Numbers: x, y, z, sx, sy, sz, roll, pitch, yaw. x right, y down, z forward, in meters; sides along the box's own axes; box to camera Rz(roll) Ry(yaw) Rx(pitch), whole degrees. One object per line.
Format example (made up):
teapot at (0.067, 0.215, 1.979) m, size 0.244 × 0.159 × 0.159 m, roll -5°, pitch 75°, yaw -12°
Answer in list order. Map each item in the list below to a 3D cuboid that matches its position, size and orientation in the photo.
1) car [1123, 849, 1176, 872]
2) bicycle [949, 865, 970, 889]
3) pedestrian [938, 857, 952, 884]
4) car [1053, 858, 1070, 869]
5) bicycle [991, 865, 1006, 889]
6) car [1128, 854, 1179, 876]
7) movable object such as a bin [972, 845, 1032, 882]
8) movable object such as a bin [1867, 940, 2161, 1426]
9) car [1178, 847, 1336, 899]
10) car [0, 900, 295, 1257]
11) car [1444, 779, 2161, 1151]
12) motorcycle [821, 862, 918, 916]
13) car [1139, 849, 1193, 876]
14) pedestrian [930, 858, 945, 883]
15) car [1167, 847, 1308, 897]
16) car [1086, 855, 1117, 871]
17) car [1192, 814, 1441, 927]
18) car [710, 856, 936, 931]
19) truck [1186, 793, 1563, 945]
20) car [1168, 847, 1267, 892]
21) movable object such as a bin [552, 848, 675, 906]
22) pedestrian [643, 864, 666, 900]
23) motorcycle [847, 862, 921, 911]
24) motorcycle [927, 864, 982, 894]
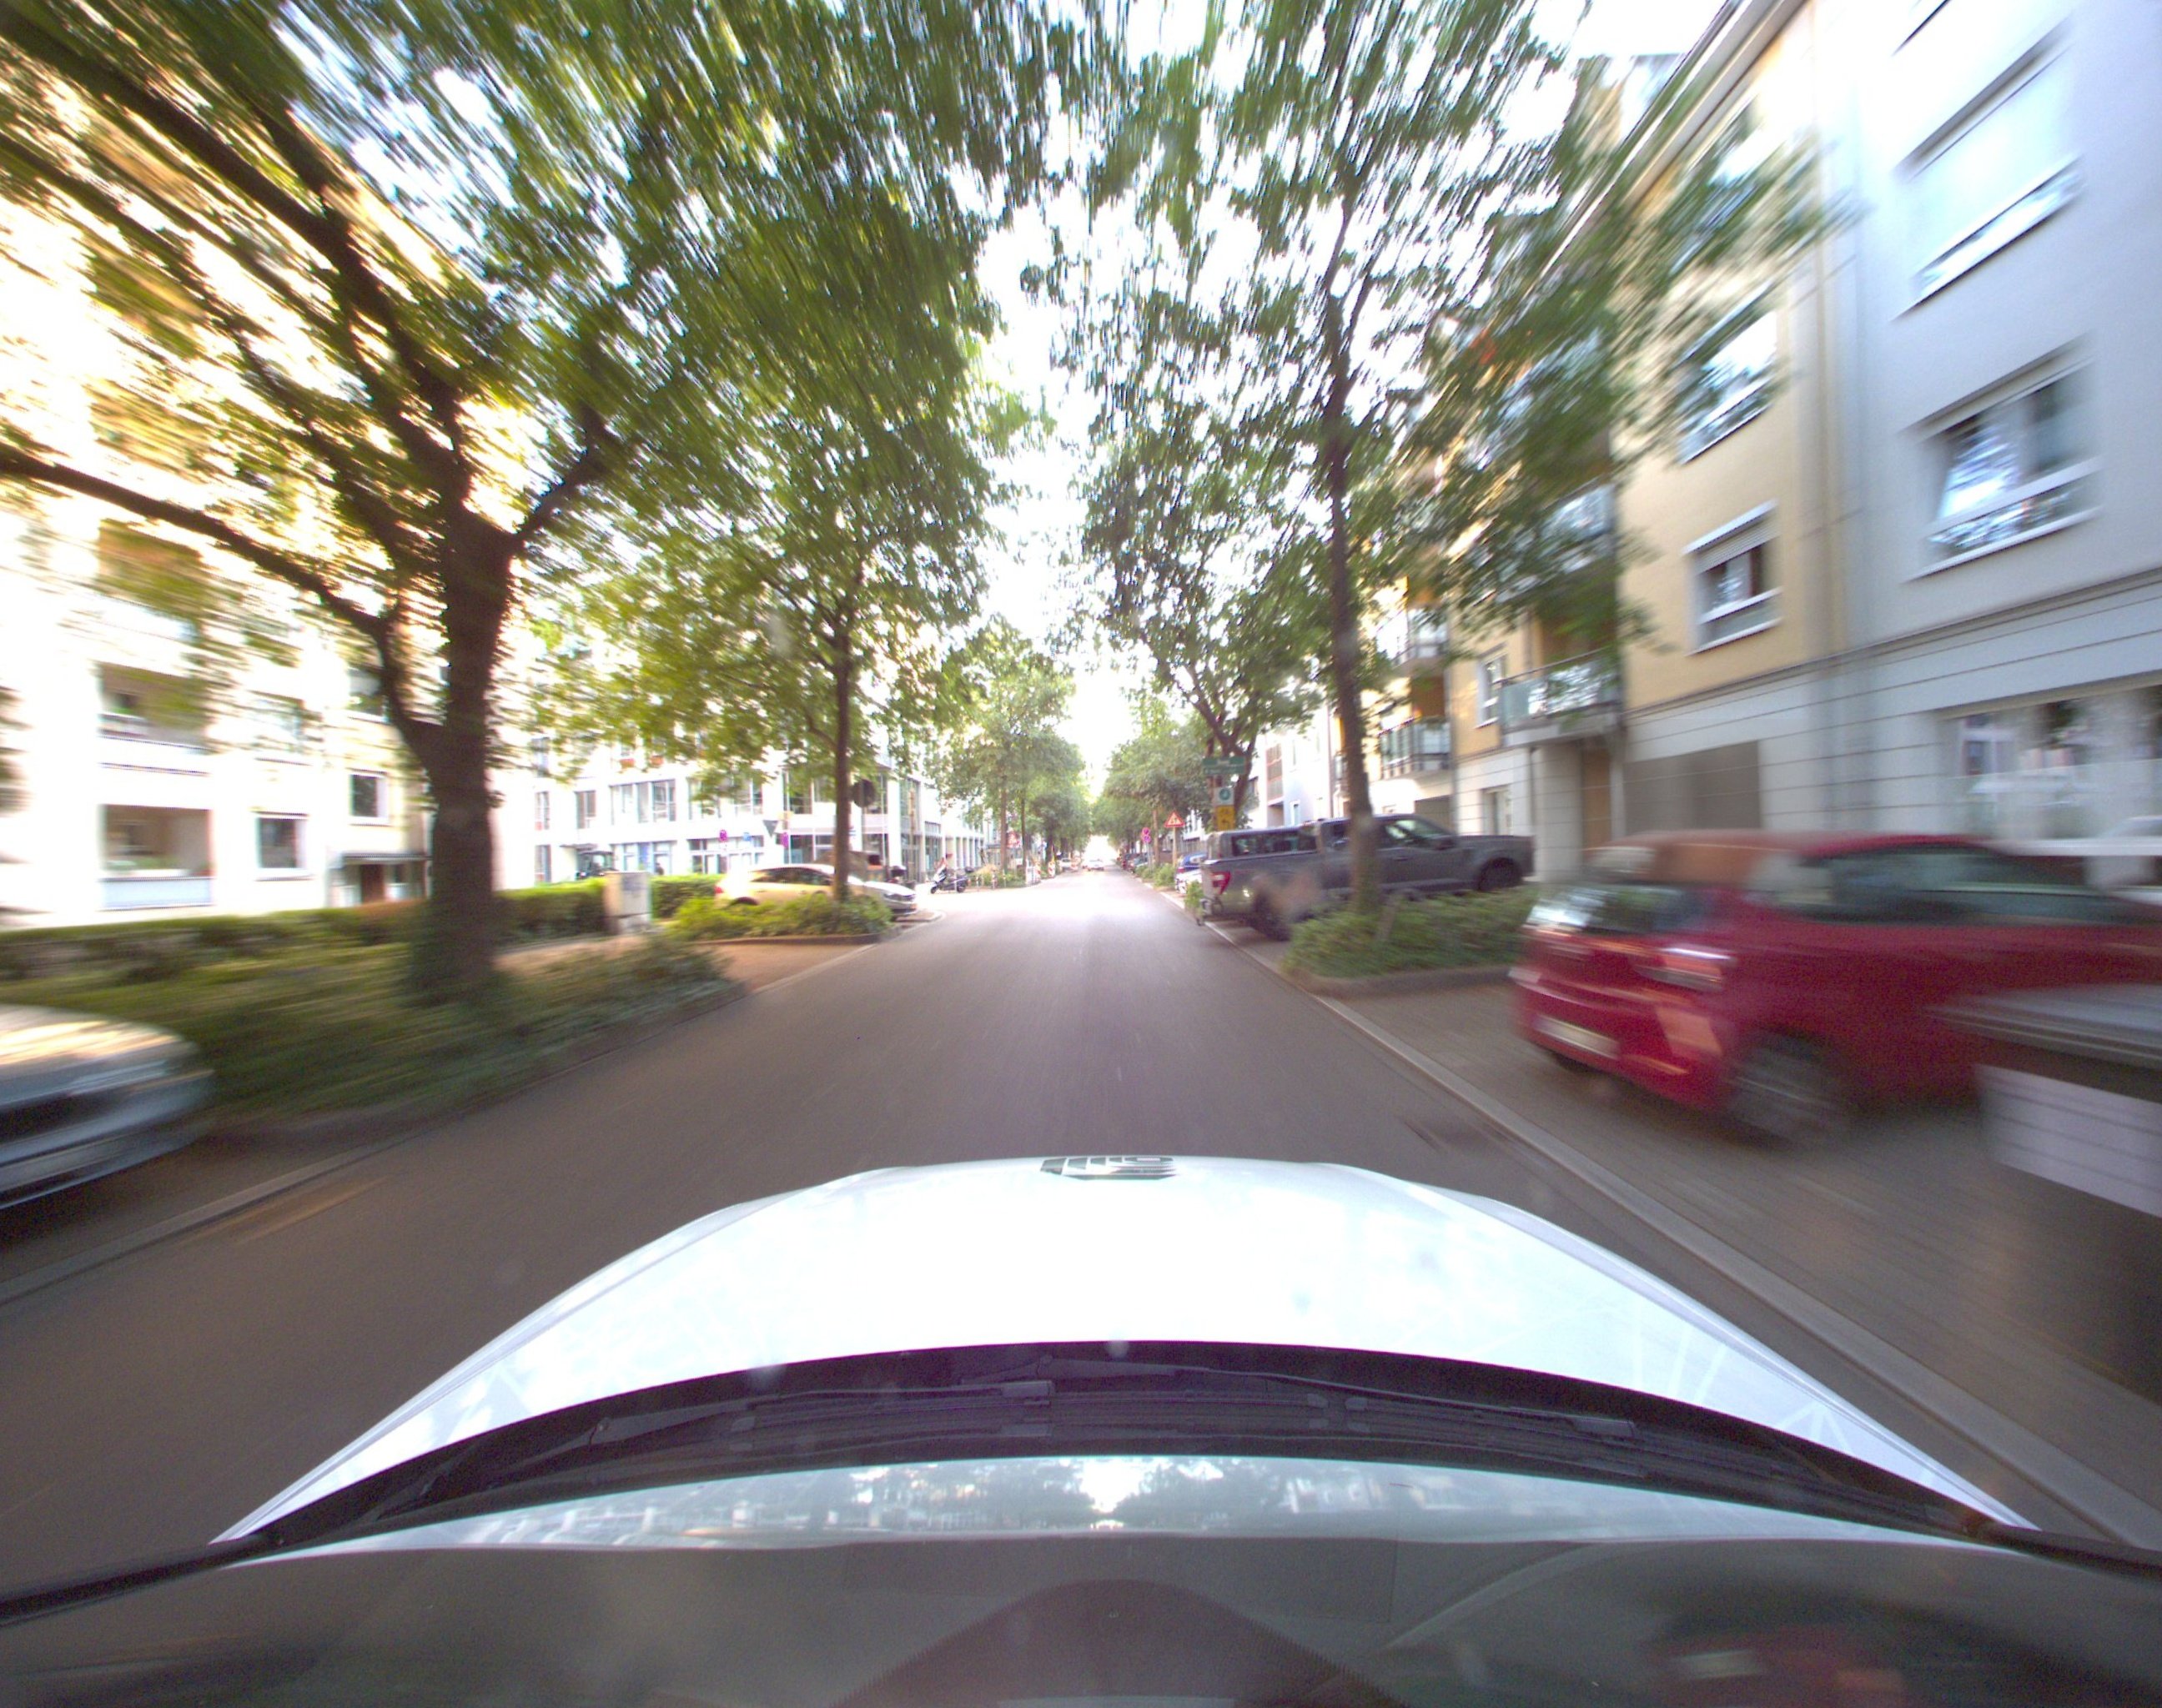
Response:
car at (6.305, 0.617, 74.919) m, size 4.722 × 2.013 × 2.000 m, roll -1°, pitch 0°, yaw 0°
bicycle at (-6.363, 1.212, 42.795) m, size 0.680 × 1.152 × 1.982 m, roll -2°, pitch 0°, yaw 3°
pedestrian at (-8.608, 1.057, 51.490) m, size 0.736 × 1.690 × 0.607 m, roll -2°, pitch -1°, yaw 3°
car at (-2.442, 1.216, 102.075) m, size 1.989 × 1.288 × 3.996 m, roll -2°, pitch 0°, yaw -3°
bicycle at (-4.335, 1.182, 42.783) m, size 0.681 × 1.152 × 1.978 m, roll -2°, pitch 0°, yaw -4°
car at (5.838, 0.878, 65.904) m, size 3.970 × 1.585 × 2.002 m, roll -2°, pitch 0°, yaw 3°
movable object such as a bin at (-5.527, 0.654, 57.344) m, size 4.039 × 2.383 × 2.780 m, roll -2°, pitch 0°, yaw -4°
movable object such as a bin at (3.042, 0.854, 2.337) m, size 0.757 × 1.084 × 0.786 m, roll -4°, pitch 0°, yaw 2°
car at (5.621, 0.603, 26.506) m, size 4.763 × 1.520 × 1.992 m, roll -2°, pitch 0°, yaw 2°
car at (-6.680, 1.043, 3.746) m, size 4.272 × 1.430 × 1.880 m, roll -2°, pitch 0°, yaw 1°
car at (4.520, 0.494, 4.872) m, size 3.764 × 1.544 × 1.877 m, roll -5°, pitch 0°, yaw 0°
motorcycle at (-5.971, 0.980, 23.069) m, size 2.442 × 1.420 × 0.912 m, roll -2°, pitch -1°, yaw 3°
car at (6.382, 0.638, 61.318) m, size 3.968 × 1.805 × 2.003 m, roll -2°, pitch 0°, yaw 5°
pedestrian at (-9.145, 1.059, 51.791) m, size 0.767 × 1.536 × 0.643 m, roll -2°, pitch -1°, yaw 1°
car at (5.463, 0.621, 28.903) m, size 4.605 × 1.571 × 2.011 m, roll -2°, pitch 0°, yaw 1°
car at (2.326, 0.992, 91.718) m, size 1.991 × 1.613 × 4.144 m, roll -2°, pitch 0°, yaw 25°
car at (4.813, 0.322, 17.236) m, size 4.585 × 2.066 × 2.197 m, roll -2°, pitch 0°, yaw 0°
car at (-5.984, 0.897, 19.287) m, size 4.599 × 1.552 × 2.077 m, roll -2°, pitch 0°, yaw 3°
truck at (4.945, 0.255, 14.490) m, size 5.865 × 2.311 × 2.213 m, roll -2°, pitch 0°, yaw 2°
car at (5.228, 0.588, 31.569) m, size 3.526 × 1.564 × 1.832 m, roll -2°, pitch -1°, yaw 1°
movable object such as a bin at (-23.612, 1.151, 41.141) m, size 5.581 × 2.692 × 2.296 m, roll -2°, pitch 0°, yaw 22°
pedestrian at (-22.392, 1.453, 42.764) m, size 0.894 × 1.851 × 0.866 m, roll -2°, pitch 0°, yaw -38°
motorcycle at (-6.091, 1.005, 25.147) m, size 2.225 × 1.420 × 0.858 m, roll -2°, pitch -1°, yaw 32°
motorcycle at (-6.091, 1.195, 39.157) m, size 2.368 × 1.281 × 1.055 m, roll -2°, pitch 0°, yaw -39°
